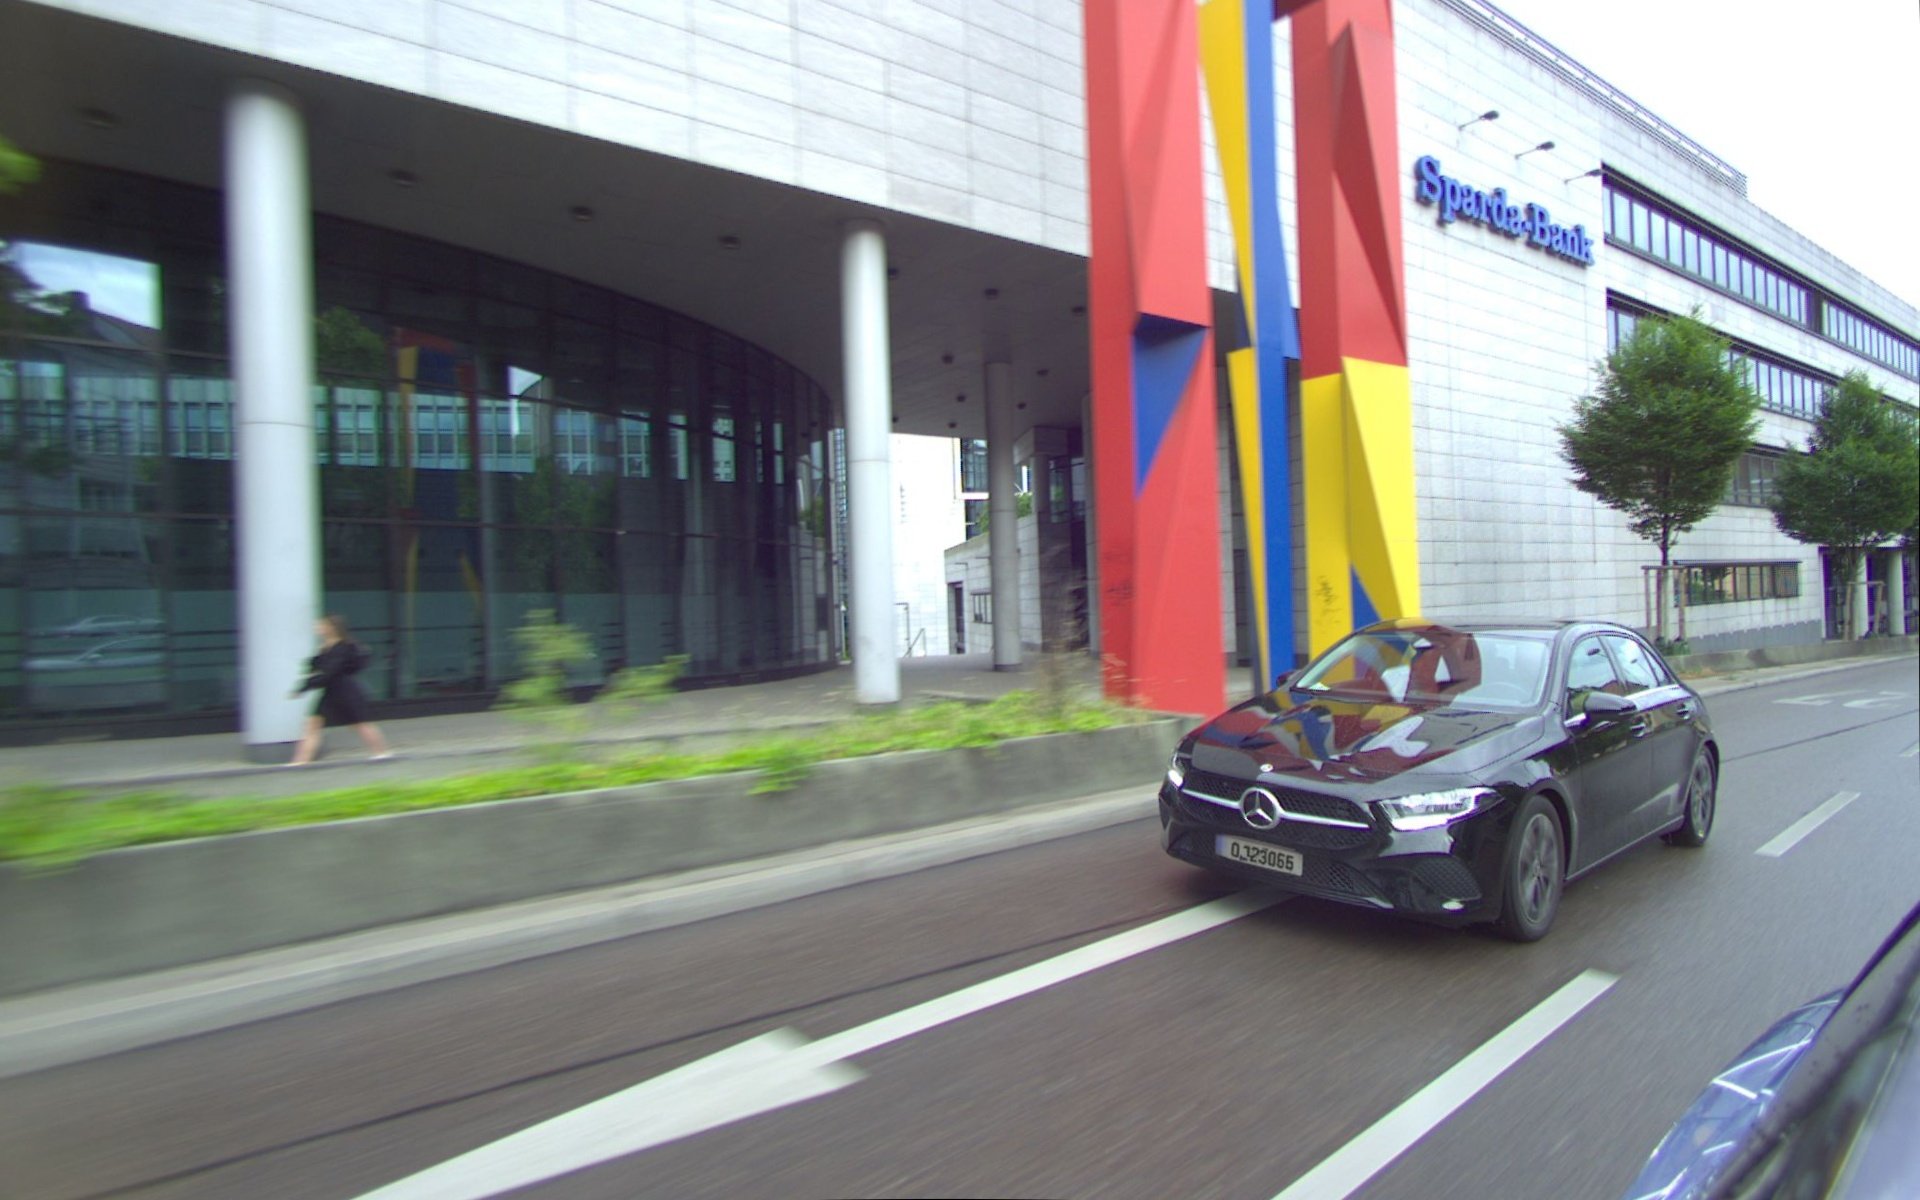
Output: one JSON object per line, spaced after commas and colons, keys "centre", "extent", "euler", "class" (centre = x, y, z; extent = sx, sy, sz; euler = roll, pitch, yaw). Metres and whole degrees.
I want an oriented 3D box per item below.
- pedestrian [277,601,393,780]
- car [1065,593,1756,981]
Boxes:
{"centre": [-6.047, 0.819, 9.780], "extent": [0.827, 1.606, 0.972], "euler": [0, 0, -40], "class": "pedestrian"}
{"centre": [2.753, 0.714, 5.810], "extent": [4.127, 1.455, 1.877], "euler": [0, -1, -37], "class": "car"}
